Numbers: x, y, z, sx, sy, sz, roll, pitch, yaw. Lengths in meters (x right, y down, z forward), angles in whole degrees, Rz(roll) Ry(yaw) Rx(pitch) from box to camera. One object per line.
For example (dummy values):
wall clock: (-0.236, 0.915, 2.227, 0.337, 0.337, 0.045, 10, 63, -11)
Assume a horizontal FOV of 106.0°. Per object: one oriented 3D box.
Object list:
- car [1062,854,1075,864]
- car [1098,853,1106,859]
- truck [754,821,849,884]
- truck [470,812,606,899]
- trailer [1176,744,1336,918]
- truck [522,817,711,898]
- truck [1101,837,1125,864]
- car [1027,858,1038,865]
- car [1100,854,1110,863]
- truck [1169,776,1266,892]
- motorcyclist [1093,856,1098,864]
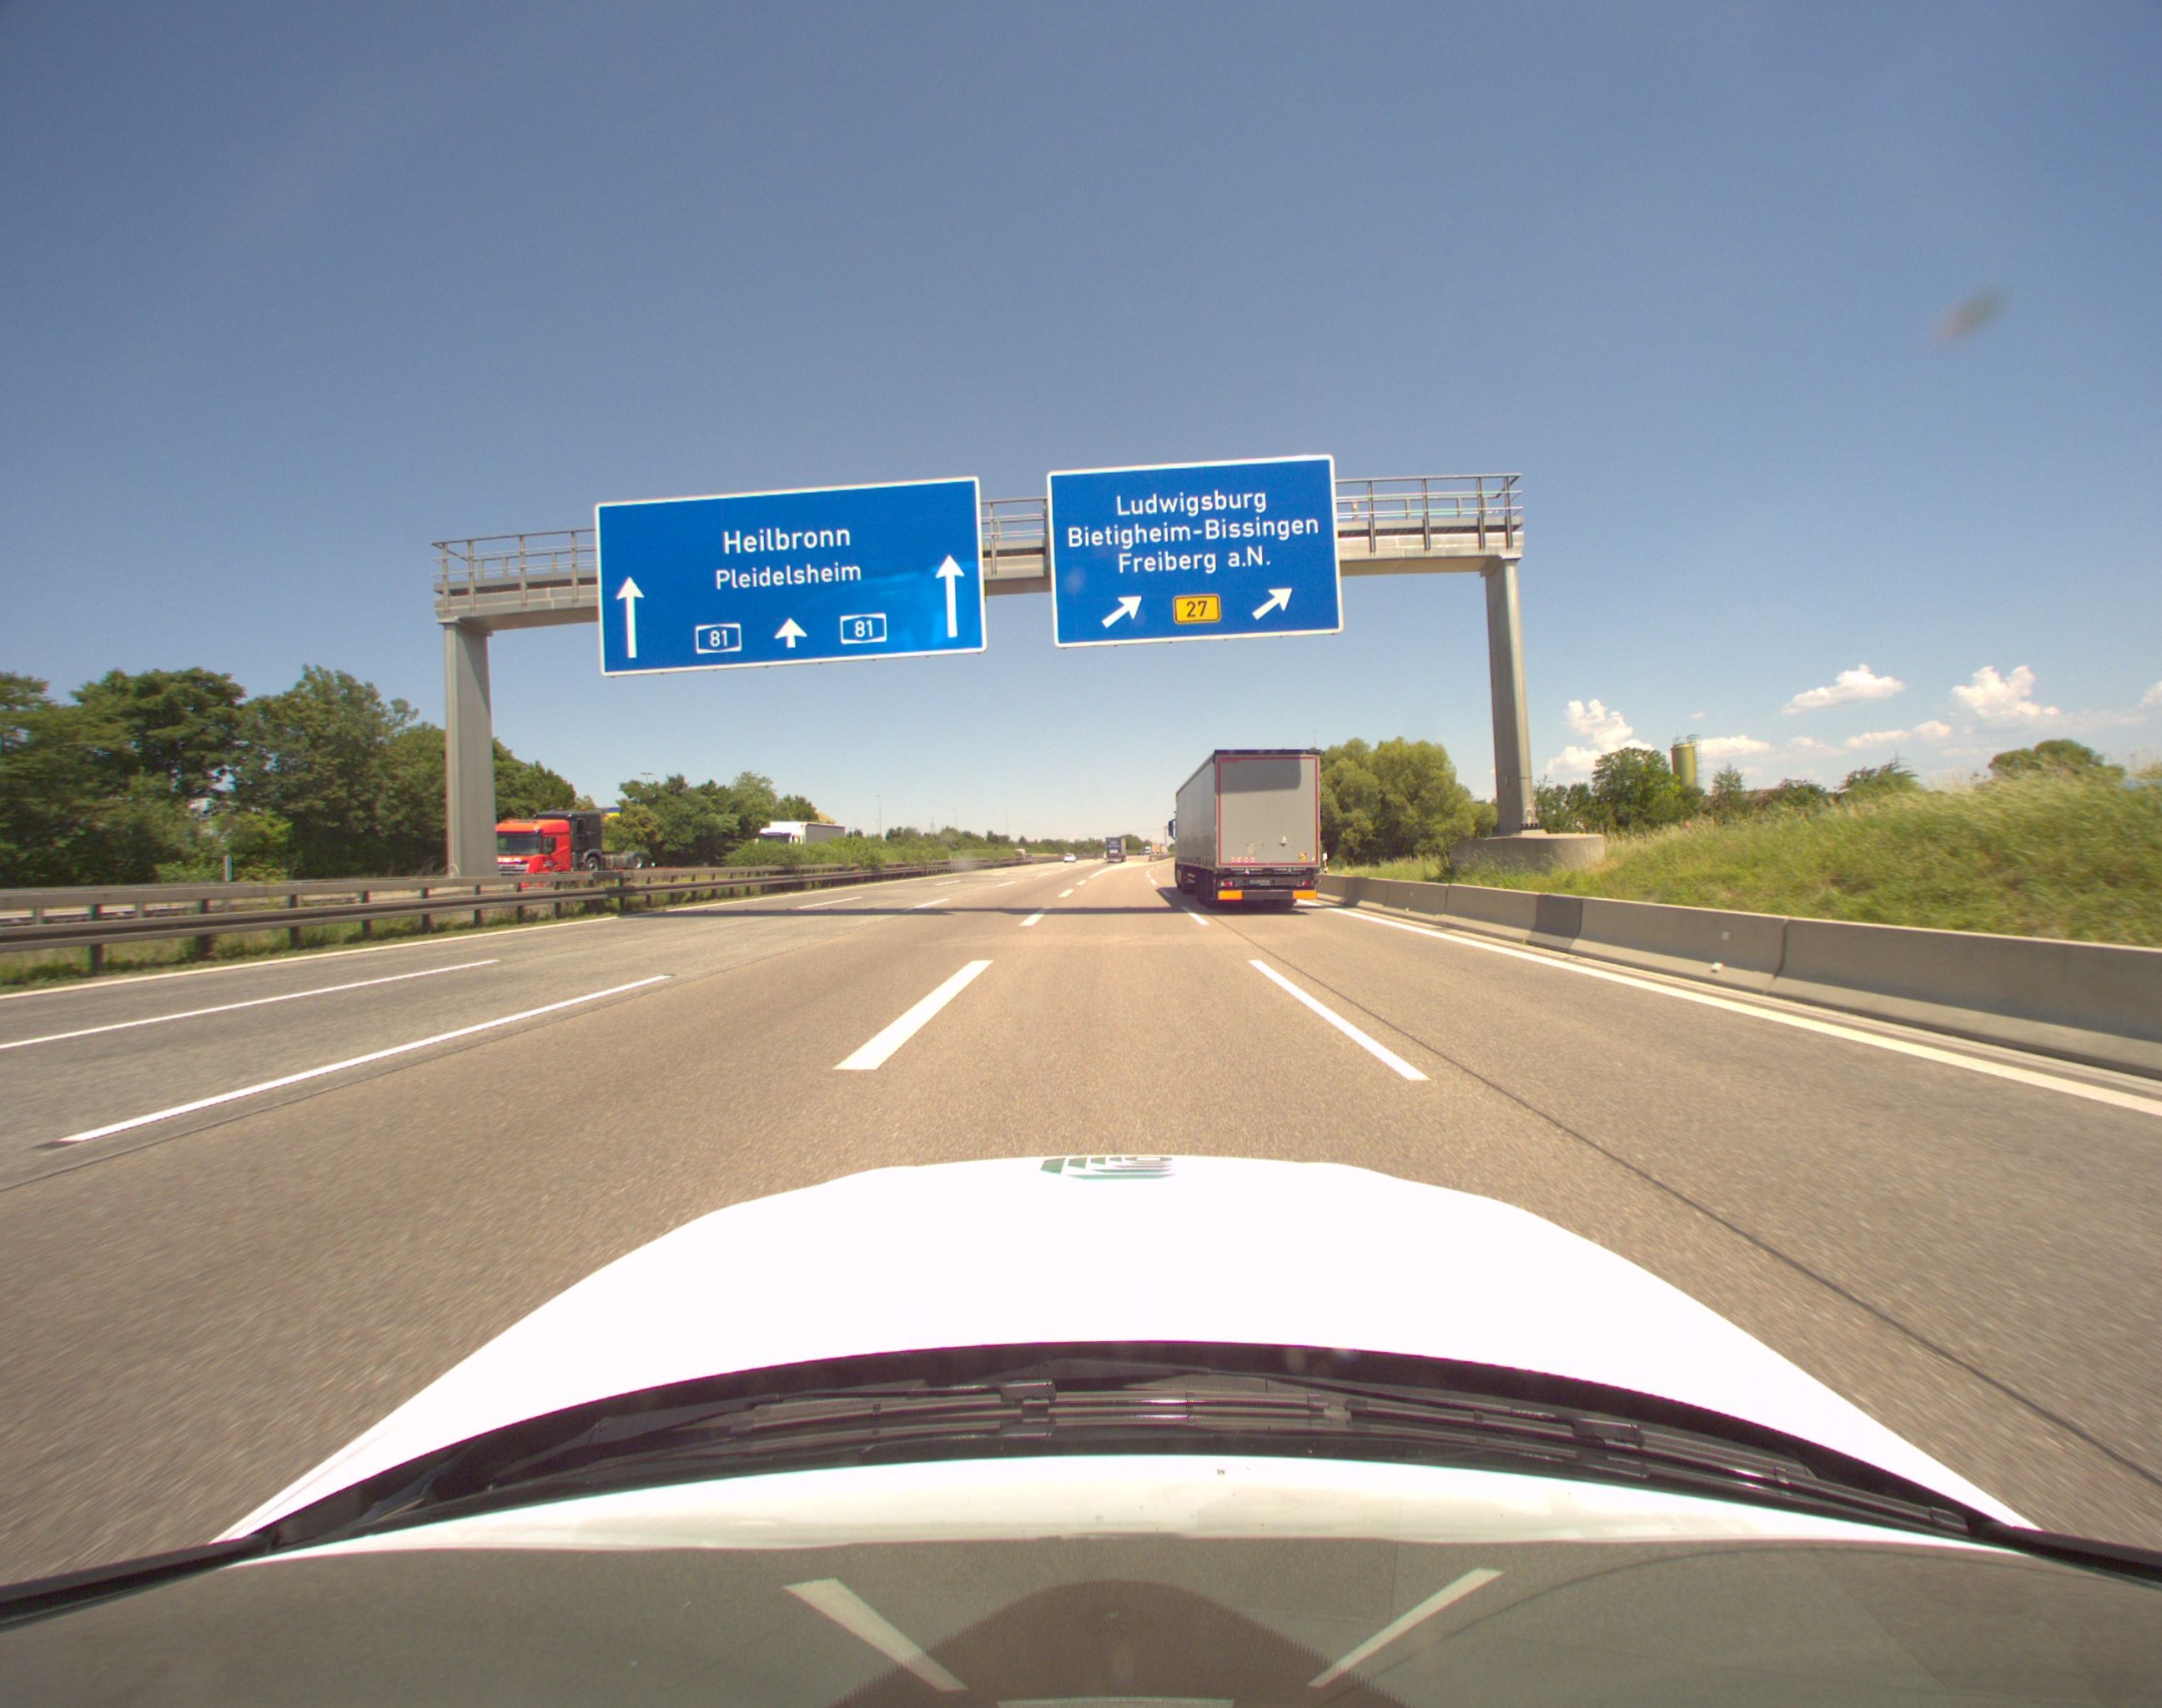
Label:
car: (-2.008, 0.837, 135.123, 1.774, 1.440, 4.673, -1, -1, 4)
car: (5.355, 0.441, 207.380, 1.868, 1.441, 5.131, -1, -1, 4)
truck: (-20.092, -0.095, 59.380, 2.741, 4.207, 10.411, -1, 0, 3)
truck: (-25.302, 0.056, 38.263, 2.741, 3.793, 5.106, -1, 0, 3)
trailer: (4.812, -0.667, 25.158, 2.916, 4.015, 12.050, -2, 1, 3)
truck: (-24.923, 0.171, 44.933, 2.741, 3.793, 12.339, -1, 0, 3)
truck: (5.357, -0.570, 135.556, 3.732, 4.270, 14.502, -1, 0, 2)
car: (-9.830, 1.579, 165.542, 1.774, 1.440, 4.673, -1, -1, 4)
car: (5.210, 0.954, 174.706, 1.922, 1.852, 4.696, -2, -2, 3)
truck: (5.217, -0.773, 32.529, 2.916, 4.015, 7.590, -2, 1, 3)
motorcyclist: (3.177, 1.258, 178.661, 0.889, 1.597, 1.300, -2, -4, 2)
